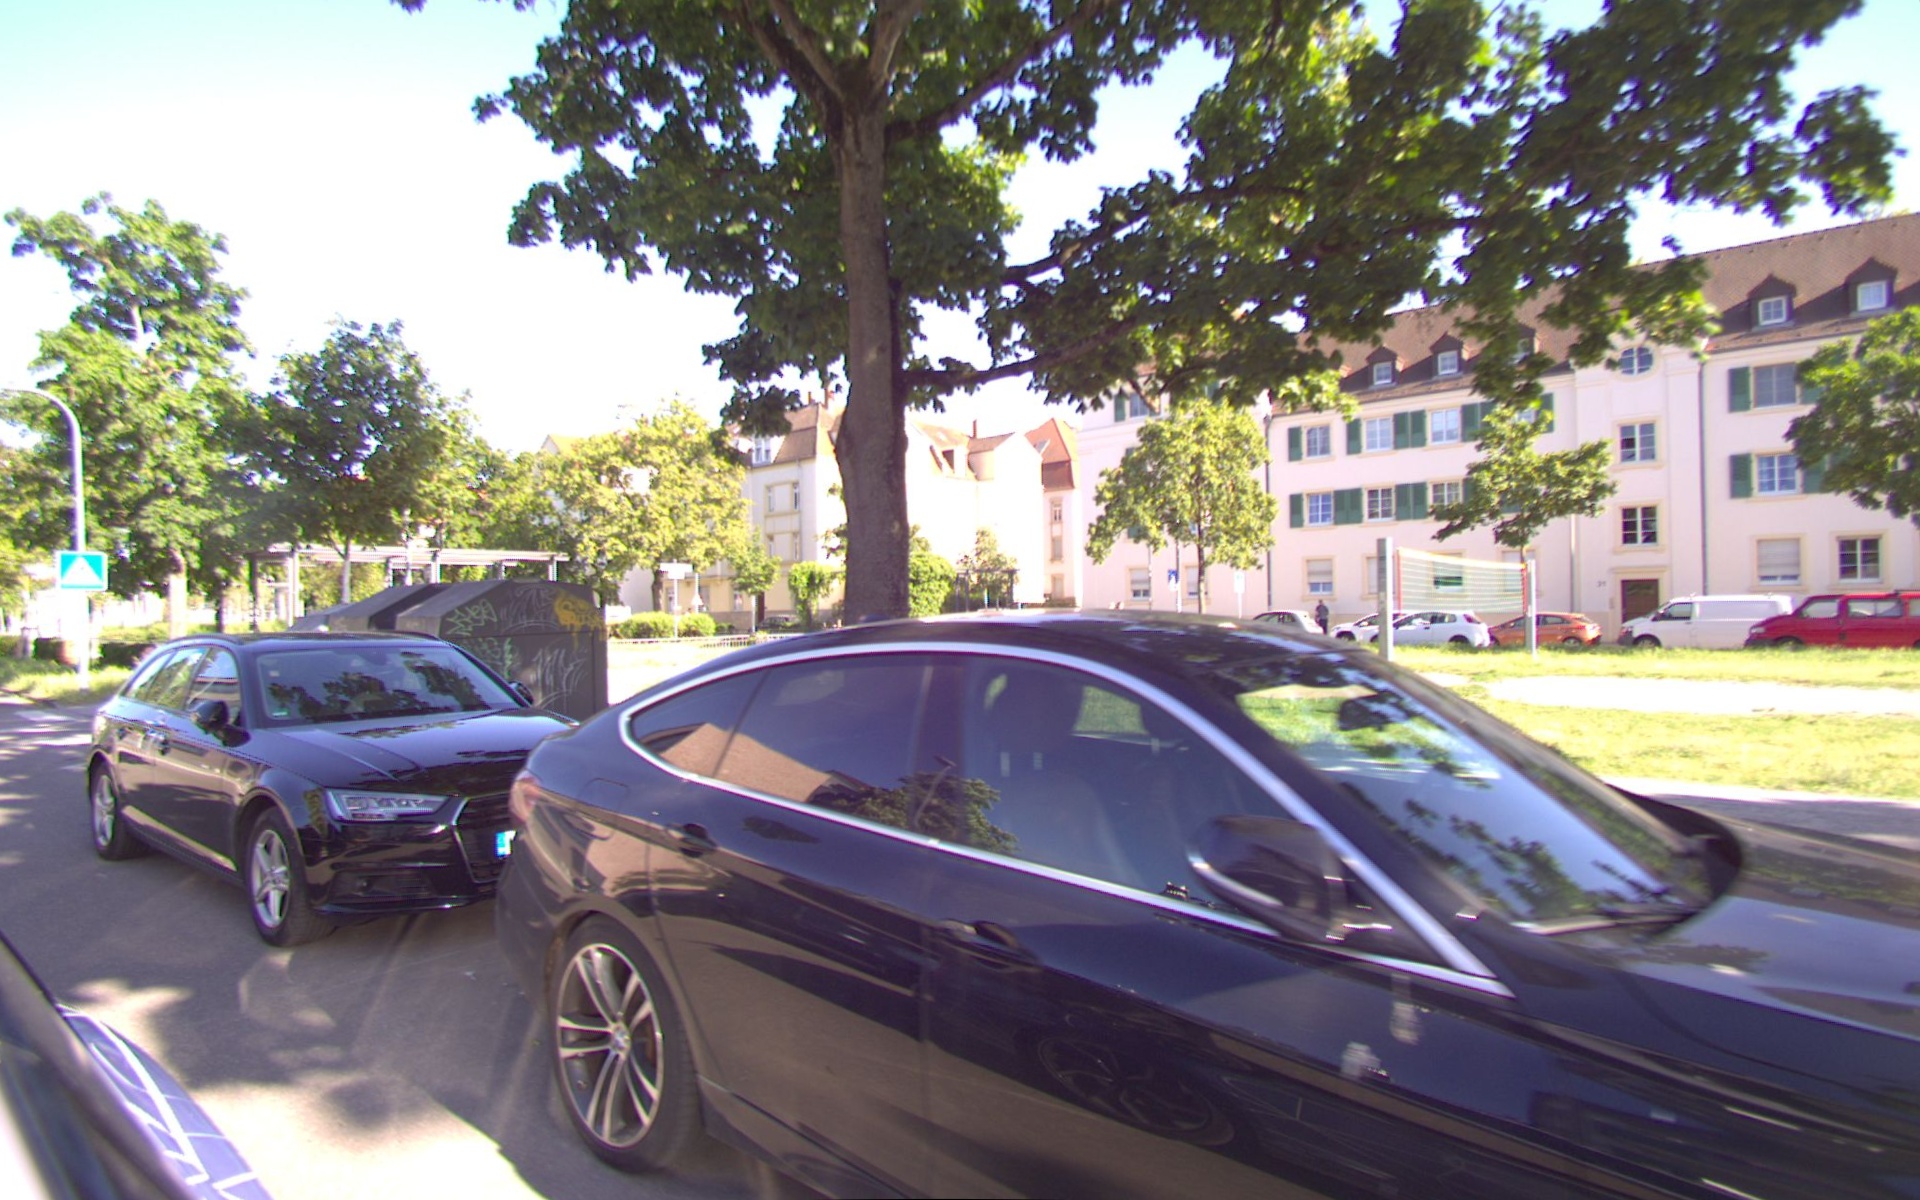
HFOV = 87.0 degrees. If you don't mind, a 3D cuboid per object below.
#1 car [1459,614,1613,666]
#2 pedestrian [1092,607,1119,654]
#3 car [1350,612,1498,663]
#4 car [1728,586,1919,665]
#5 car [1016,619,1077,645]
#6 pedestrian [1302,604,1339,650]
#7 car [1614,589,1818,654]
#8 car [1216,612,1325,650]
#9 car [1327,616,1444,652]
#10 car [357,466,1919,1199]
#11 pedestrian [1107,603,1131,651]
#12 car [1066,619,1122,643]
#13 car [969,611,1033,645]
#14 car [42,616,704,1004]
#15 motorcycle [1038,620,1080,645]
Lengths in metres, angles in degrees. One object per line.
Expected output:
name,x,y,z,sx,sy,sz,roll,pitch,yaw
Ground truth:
car,21.029,1.431,37.063,4.639,1.777,1.974,-2,-1,39
pedestrian,5.233,1.091,36.374,0.750,1.698,0.537,-2,-2,43
car,15.692,1.251,34.322,4.232,1.595,1.771,-2,-1,40
car,24.134,0.685,27.388,5.251,1.999,2.199,-2,-1,39
car,5.640,2.067,65.682,2.042,1.530,3.763,-2,-1,42
pedestrian,15.815,1.175,44.380,1.161,1.978,1.328,-2,-1,35
car,25.021,0.736,33.702,5.251,1.999,2.199,-2,-1,39
car,11.536,1.137,37.691,3.512,1.343,1.633,-2,-1,40
car,16.982,1.361,40.482,3.997,1.366,1.751,-2,-1,40
car,0.640,0.681,2.523,5.151,1.528,1.974,-2,-3,38
pedestrian,5.775,0.980,36.770,0.537,1.698,0.674,0,-2,-44
car,9.267,2.142,69.738,2.042,1.530,3.763,-2,-1,42
car,2.542,1.707,62.314,2.042,1.970,3.763,-2,-1,42
car,-3.829,0.859,6.131,4.962,1.463,1.817,-2,-1,39
motorcycle,5.313,1.756,54.401,2.143,1.315,0.807,-2,-1,39
